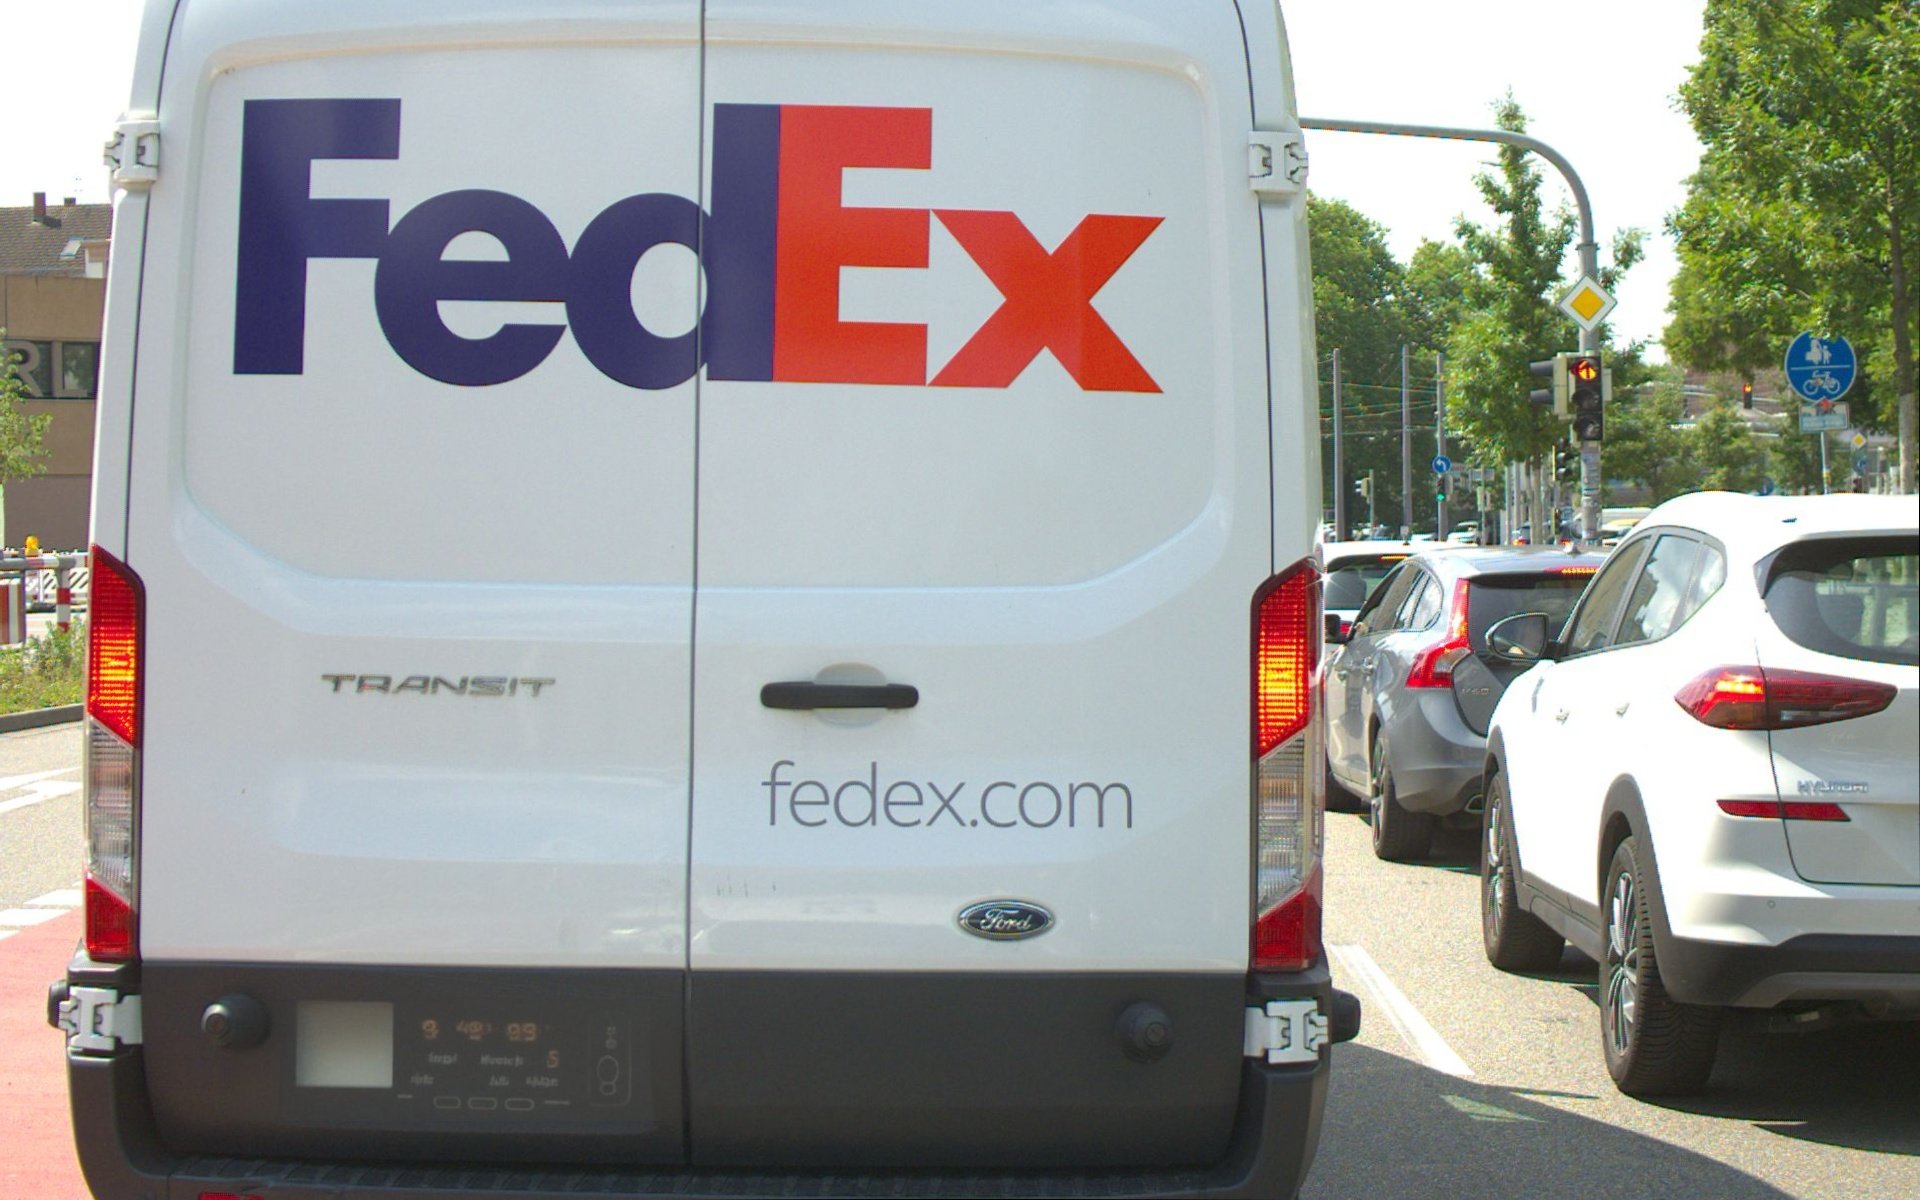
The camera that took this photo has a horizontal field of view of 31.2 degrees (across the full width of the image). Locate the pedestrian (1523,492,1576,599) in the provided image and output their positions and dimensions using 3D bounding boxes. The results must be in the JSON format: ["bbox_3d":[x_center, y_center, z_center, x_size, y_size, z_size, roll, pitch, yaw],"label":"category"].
[{"bbox_3d":[10.270,-0.959,59.945,0.813,1.843,0.761,0,1,3],"label":"pedestrian"}]

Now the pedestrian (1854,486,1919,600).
[{"bbox_3d":[15.160,-0.938,56.250,0.758,1.843,0.816,-1,1,-8],"label":"pedestrian"}]

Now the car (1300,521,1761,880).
[{"bbox_3d":[2.676,0.398,16.873,1.691,1.543,3.720,0,1,1],"label":"car"}]

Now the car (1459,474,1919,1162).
[{"bbox_3d":[2.669,0.475,10.340,1.814,1.673,3.974,0,1,1],"label":"car"}]

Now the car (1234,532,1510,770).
[{"bbox_3d":[2.724,0.284,23.284,1.499,1.459,3.474,0,1,1],"label":"car"}]

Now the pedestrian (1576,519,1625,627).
[{"bbox_3d":[11.001,-0.465,59.051,0.759,1.843,0.816,0,1,15],"label":"pedestrian"}]

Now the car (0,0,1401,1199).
[{"bbox_3d":[-0.369,0.077,7.176,2.072,2.572,4.428,0,1,1],"label":"car"}]

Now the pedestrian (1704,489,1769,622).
[{"bbox_3d":[10.861,-0.624,48.112,0.759,1.843,0.816,-1,1,3],"label":"pedestrian"}]

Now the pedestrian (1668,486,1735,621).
[{"bbox_3d":[10.280,-0.650,47.660,0.759,1.843,0.816,-1,1,1],"label":"pedestrian"}]

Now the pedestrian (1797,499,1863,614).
[{"bbox_3d":[14.180,-0.717,56.041,0.758,1.843,0.816,-1,1,-10],"label":"pedestrian"}]
